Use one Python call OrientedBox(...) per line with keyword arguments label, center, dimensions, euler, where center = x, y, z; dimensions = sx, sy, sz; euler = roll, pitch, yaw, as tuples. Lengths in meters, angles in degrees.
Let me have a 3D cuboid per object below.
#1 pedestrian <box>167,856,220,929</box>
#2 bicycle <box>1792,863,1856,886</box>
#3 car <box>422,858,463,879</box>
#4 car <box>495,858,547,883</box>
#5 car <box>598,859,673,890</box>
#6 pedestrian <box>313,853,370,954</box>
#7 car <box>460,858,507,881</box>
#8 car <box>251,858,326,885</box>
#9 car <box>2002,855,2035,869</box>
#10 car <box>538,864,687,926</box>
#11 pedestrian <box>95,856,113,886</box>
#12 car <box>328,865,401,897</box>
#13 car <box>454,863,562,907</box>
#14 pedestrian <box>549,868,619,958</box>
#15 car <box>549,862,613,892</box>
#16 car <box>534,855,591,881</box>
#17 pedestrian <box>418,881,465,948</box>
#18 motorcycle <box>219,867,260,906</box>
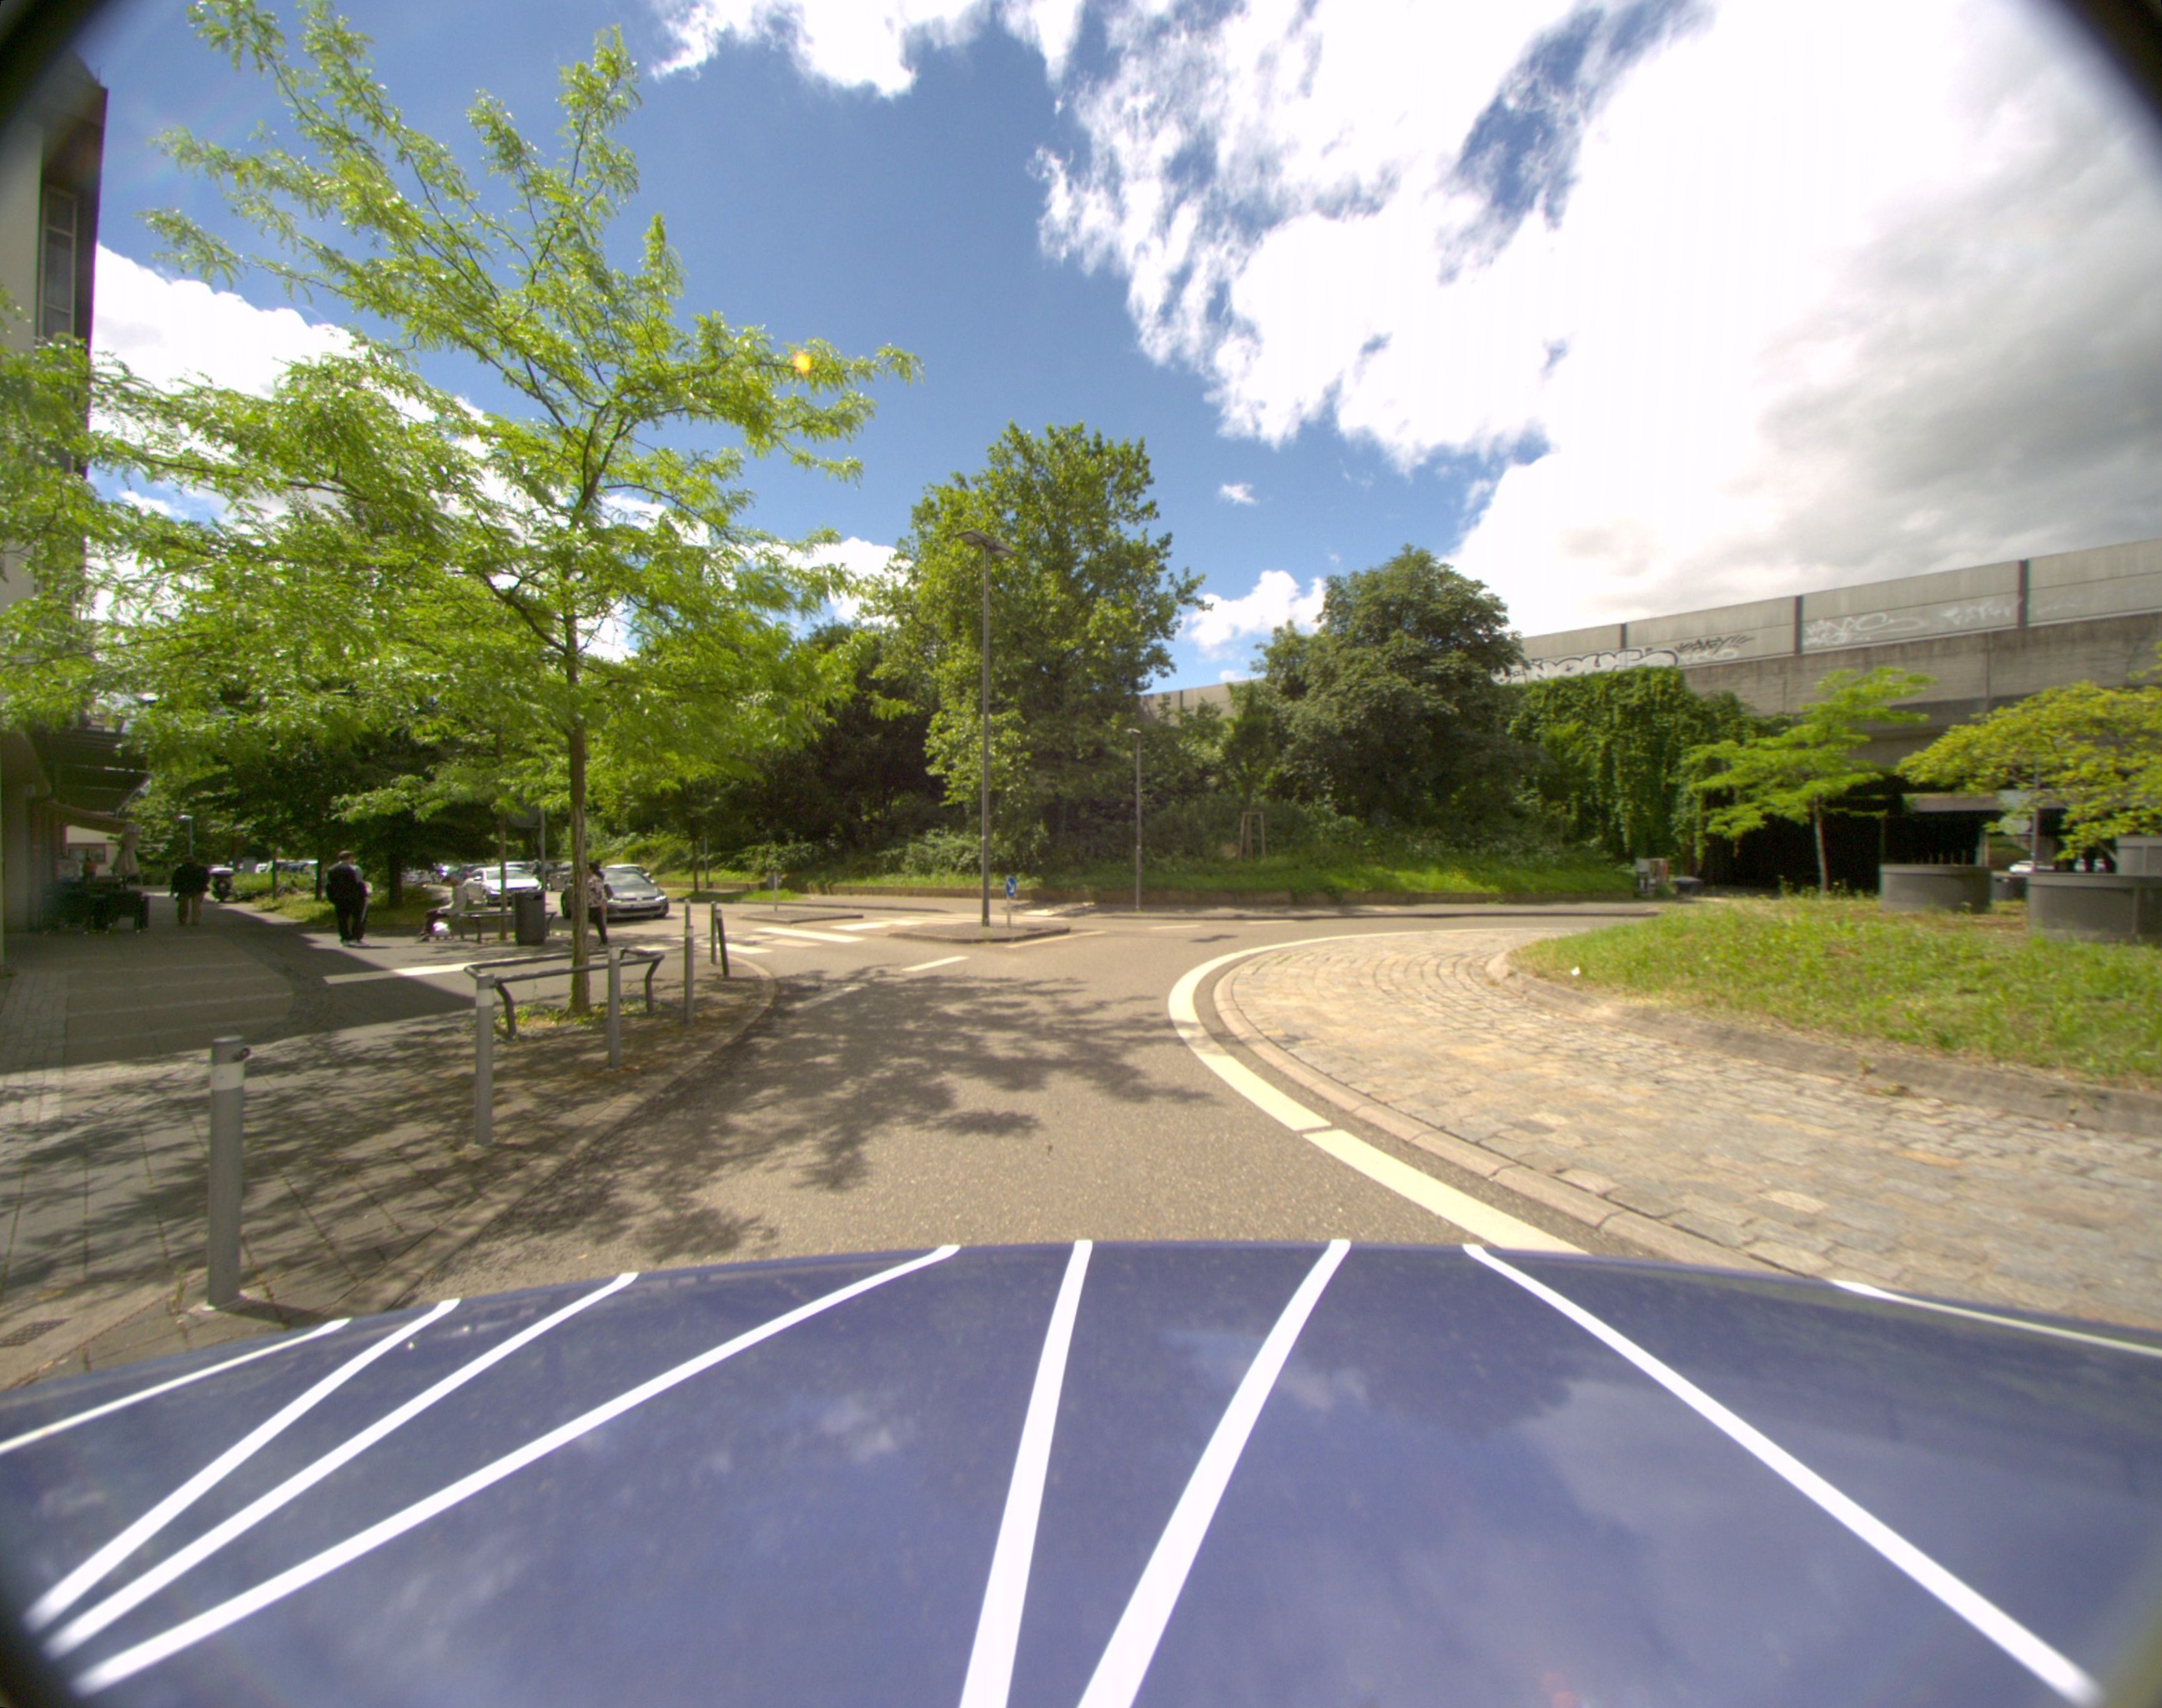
OrientedBox(label="pedestrian", center=(-20.848, 0.891, 17.854), dimensions=(0.696, 1.664, 0.618), euler=(0, 0, 23))
OrientedBox(label="bicycle", center=(32.181, 0.867, 32.953), dimensions=(1.945, 0.899, 0.508), euler=(2, 2, 43))
OrientedBox(label="car", center=(-48.321, 1.082, 57.485), dimensions=(3.988, 1.477, 1.939), euler=(0, 0, 44))
OrientedBox(label="car", center=(-34.769, 0.969, 47.151), dimensions=(3.988, 1.477, 1.939), euler=(0, 0, 44))
OrientedBox(label="car", center=(-21.819, 0.977, 37.171), dimensions=(3.988, 1.323, 1.760), euler=(0, 3, 39))
OrientedBox(label="pedestrian", center=(-13.699, 0.885, 14.075), dimensions=(0.615, 1.808, 0.699), euler=(1, 1, 42))
OrientedBox(label="car", center=(-40.251, 0.992, 51.143), dimensions=(3.988, 1.477, 1.939), euler=(0, 0, 44))
OrientedBox(label="car", center=(-46.328, 1.000, 44.383), dimensions=(4.572, 1.499, 2.004), euler=(-1, 0, 30))
OrientedBox(label="car", center=(100.095, 0.836, 81.170), dimensions=(1.672, 1.439, 3.861), euler=(2, 1, 43))
OrientedBox(label="car", center=(-13.357, 1.082, 21.573), dimensions=(4.572, 1.499, 2.004), euler=(-1, 2, 37))
OrientedBox(label="pedestrian", center=(-54.158, 0.923, 42.111), dimensions=(0.660, 1.664, 0.583), euler=(0, 0, 34))
OrientedBox(label="car", center=(-36.296, 1.321, 38.440), dimensions=(4.571, 1.499, 2.004), euler=(-1, 0, 38))
OrientedBox(label="car", center=(-21.999, 1.135, 29.111), dimensions=(4.572, 1.499, 2.004), euler=(-1, 1, 36))
OrientedBox(label="pedestrian", center=(-8.876, 1.025, 13.595), dimensions=(0.779, 1.544, 0.765), euler=(0, 0, -6))
OrientedBox(label="car", center=(-26.371, 1.164, 40.049), dimensions=(3.988, 1.477, 1.939), euler=(0, 0, 44))
OrientedBox(label="car", center=(-30.207, 0.778, 44.222), dimensions=(3.988, 1.477, 1.939), euler=(0, 0, 44))
OrientedBox(label="pedestrian", center=(-12.745, 1.183, 15.140), dimensions=(0.699, 1.277, 0.615), euler=(0, 0, -41))
OrientedBox(label="motorcycle", center=(-30.354, 1.149, 27.404), dimensions=(2.180, 1.284, 0.859), euler=(1, 1, 39))
